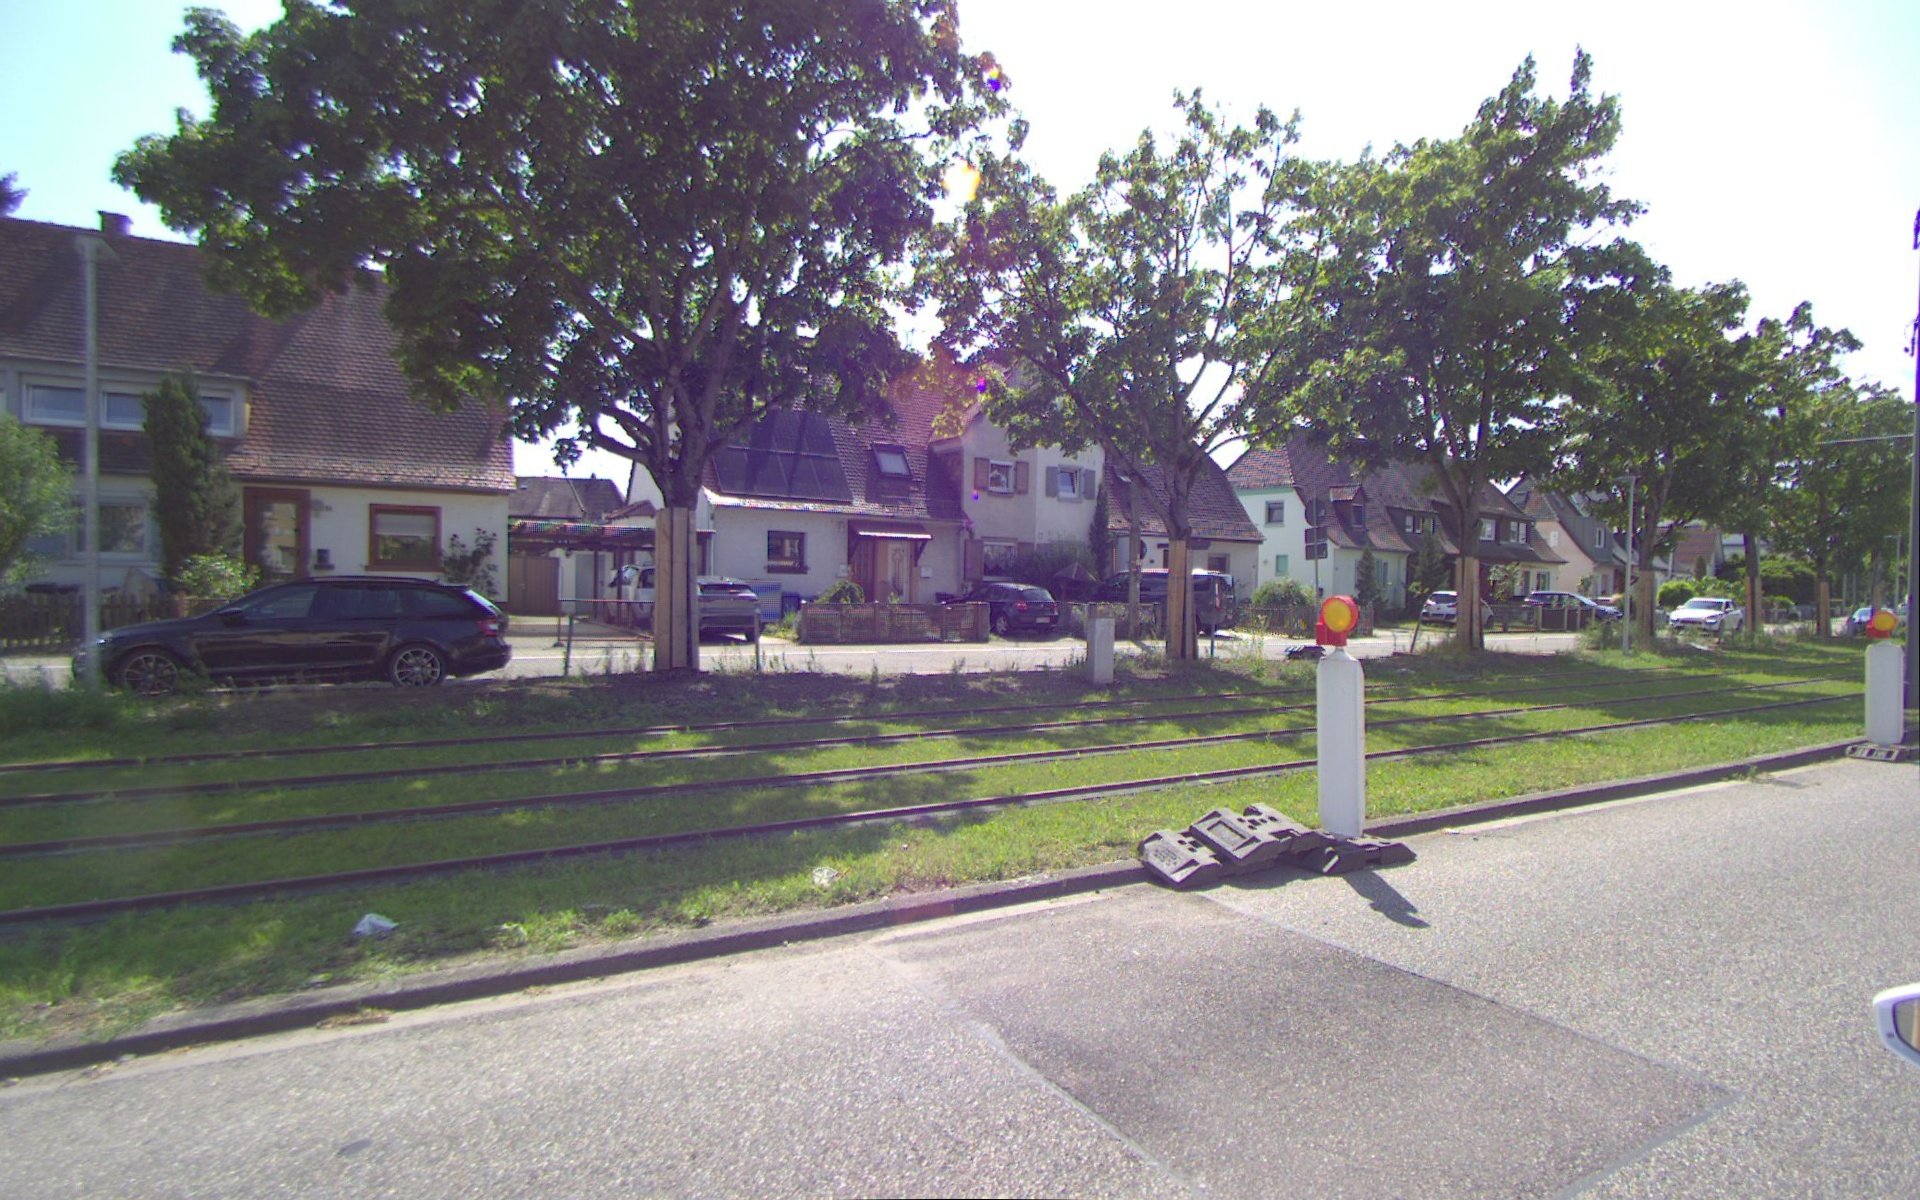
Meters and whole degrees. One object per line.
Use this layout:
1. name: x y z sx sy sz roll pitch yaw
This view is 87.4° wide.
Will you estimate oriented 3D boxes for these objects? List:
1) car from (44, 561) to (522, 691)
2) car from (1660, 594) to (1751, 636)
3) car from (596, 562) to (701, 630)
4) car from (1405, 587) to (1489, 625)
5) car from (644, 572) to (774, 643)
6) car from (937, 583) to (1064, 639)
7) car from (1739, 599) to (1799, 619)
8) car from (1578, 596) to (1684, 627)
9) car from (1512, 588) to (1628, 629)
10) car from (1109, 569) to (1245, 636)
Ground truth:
1. car: -8.171 0.293 12.746 4.744 1.406 1.846 1 1 -26
2. car: 34.393 0.687 46.295 5.032 1.792 1.868 1 1 -35
3. car: -8.905 -0.147 28.509 1.780 1.761 3.961 0 2 -34
4. car: 20.993 0.259 43.259 4.010 1.538 1.714 1 1 -40
5. car: -6.230 0.133 24.641 1.855 1.551 3.961 0 2 -34
6. car: 1.116 0.271 29.131 1.718 1.476 3.858 0 1 -34
7. car: 70.235 0.763 87.241 3.943 1.592 1.784 1 1 43
8. car: 36.453 0.607 54.691 1.910 1.544 4.432 0 1 -40
9. car: 29.972 0.379 49.443 2.048 1.861 4.432 0 1 -40
10. car: 7.051 0.034 32.824 3.833 1.922 1.936 4 3 36
